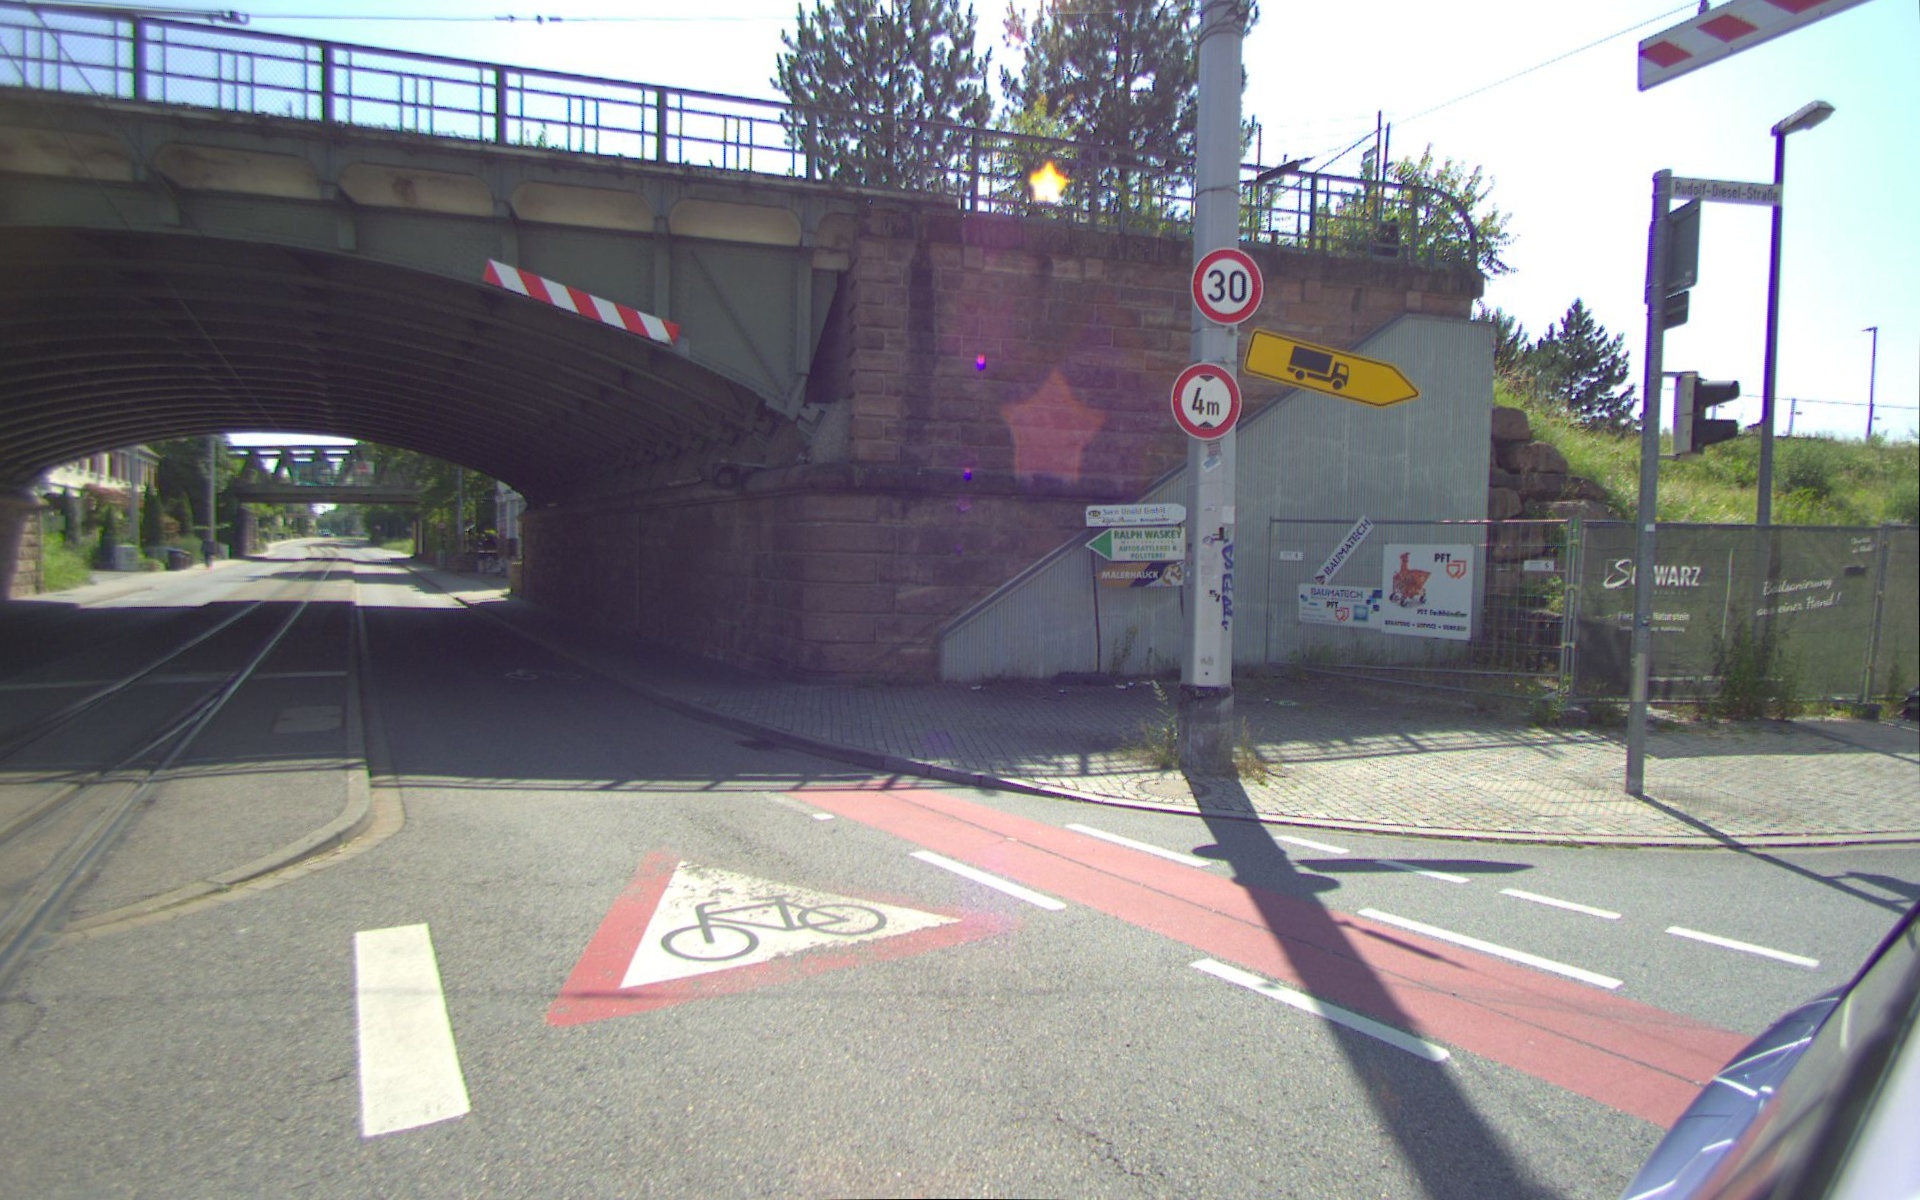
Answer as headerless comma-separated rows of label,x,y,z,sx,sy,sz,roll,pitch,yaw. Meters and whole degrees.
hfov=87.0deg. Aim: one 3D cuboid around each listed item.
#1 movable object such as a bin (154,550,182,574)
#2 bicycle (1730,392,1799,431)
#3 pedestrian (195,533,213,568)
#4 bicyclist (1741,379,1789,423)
movable object such as a bin,-39.347,-1.912,50.310,1.020,1.177,0.975,-1,2,-34
bicycle,29.723,-6.952,37.376,2.129,1.228,0.939,-1,1,-17
pedestrian,-40.774,-2.658,54.559,0.728,1.839,0.852,0,2,-34
bicyclist,29.743,-7.326,37.385,1.040,1.405,0.955,-1,1,-17
